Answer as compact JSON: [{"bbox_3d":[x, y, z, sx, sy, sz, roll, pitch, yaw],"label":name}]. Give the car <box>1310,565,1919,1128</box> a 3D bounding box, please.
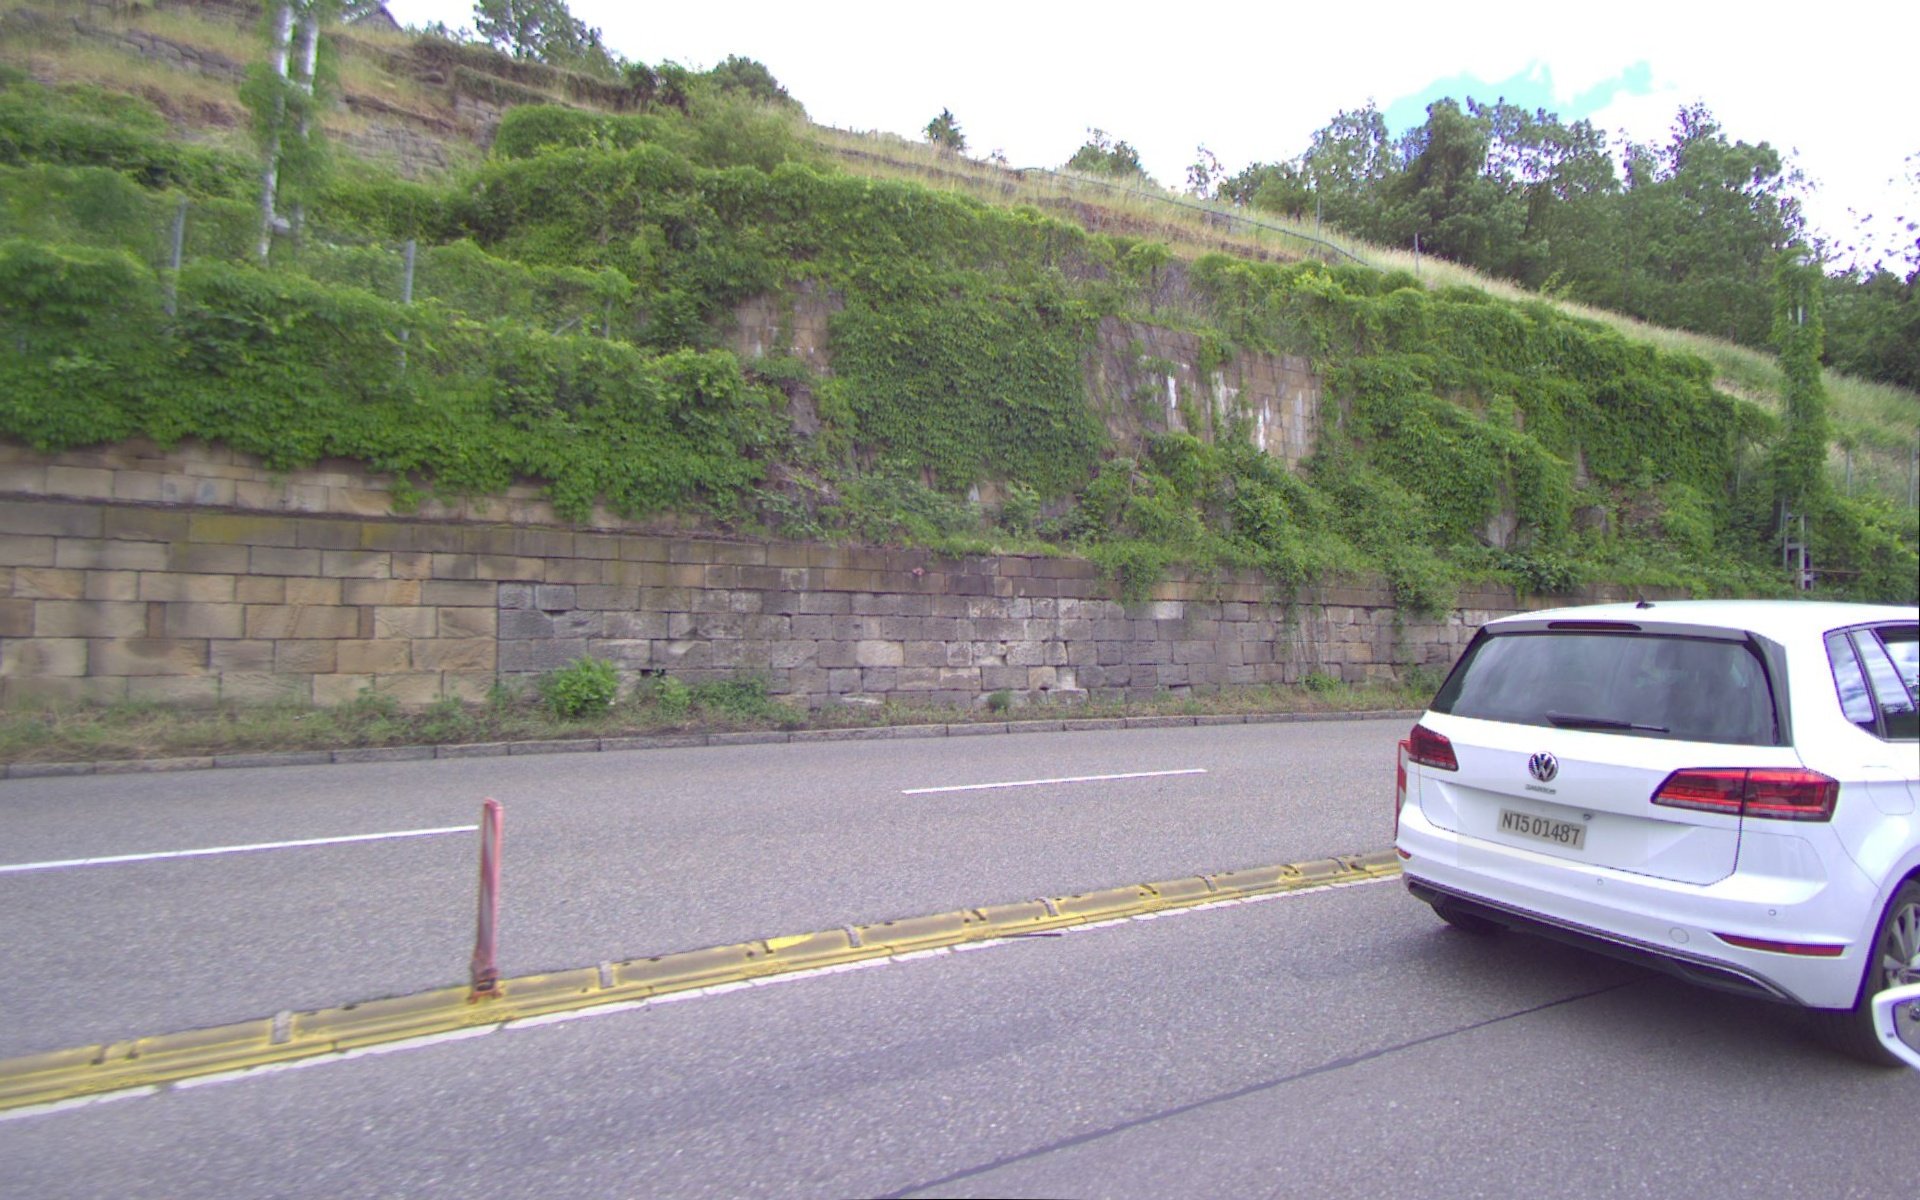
[{"bbox_3d":[3.883,0.771,4.681,4.301,1.601,1.814,2,-1,-28],"label":"car"}]
